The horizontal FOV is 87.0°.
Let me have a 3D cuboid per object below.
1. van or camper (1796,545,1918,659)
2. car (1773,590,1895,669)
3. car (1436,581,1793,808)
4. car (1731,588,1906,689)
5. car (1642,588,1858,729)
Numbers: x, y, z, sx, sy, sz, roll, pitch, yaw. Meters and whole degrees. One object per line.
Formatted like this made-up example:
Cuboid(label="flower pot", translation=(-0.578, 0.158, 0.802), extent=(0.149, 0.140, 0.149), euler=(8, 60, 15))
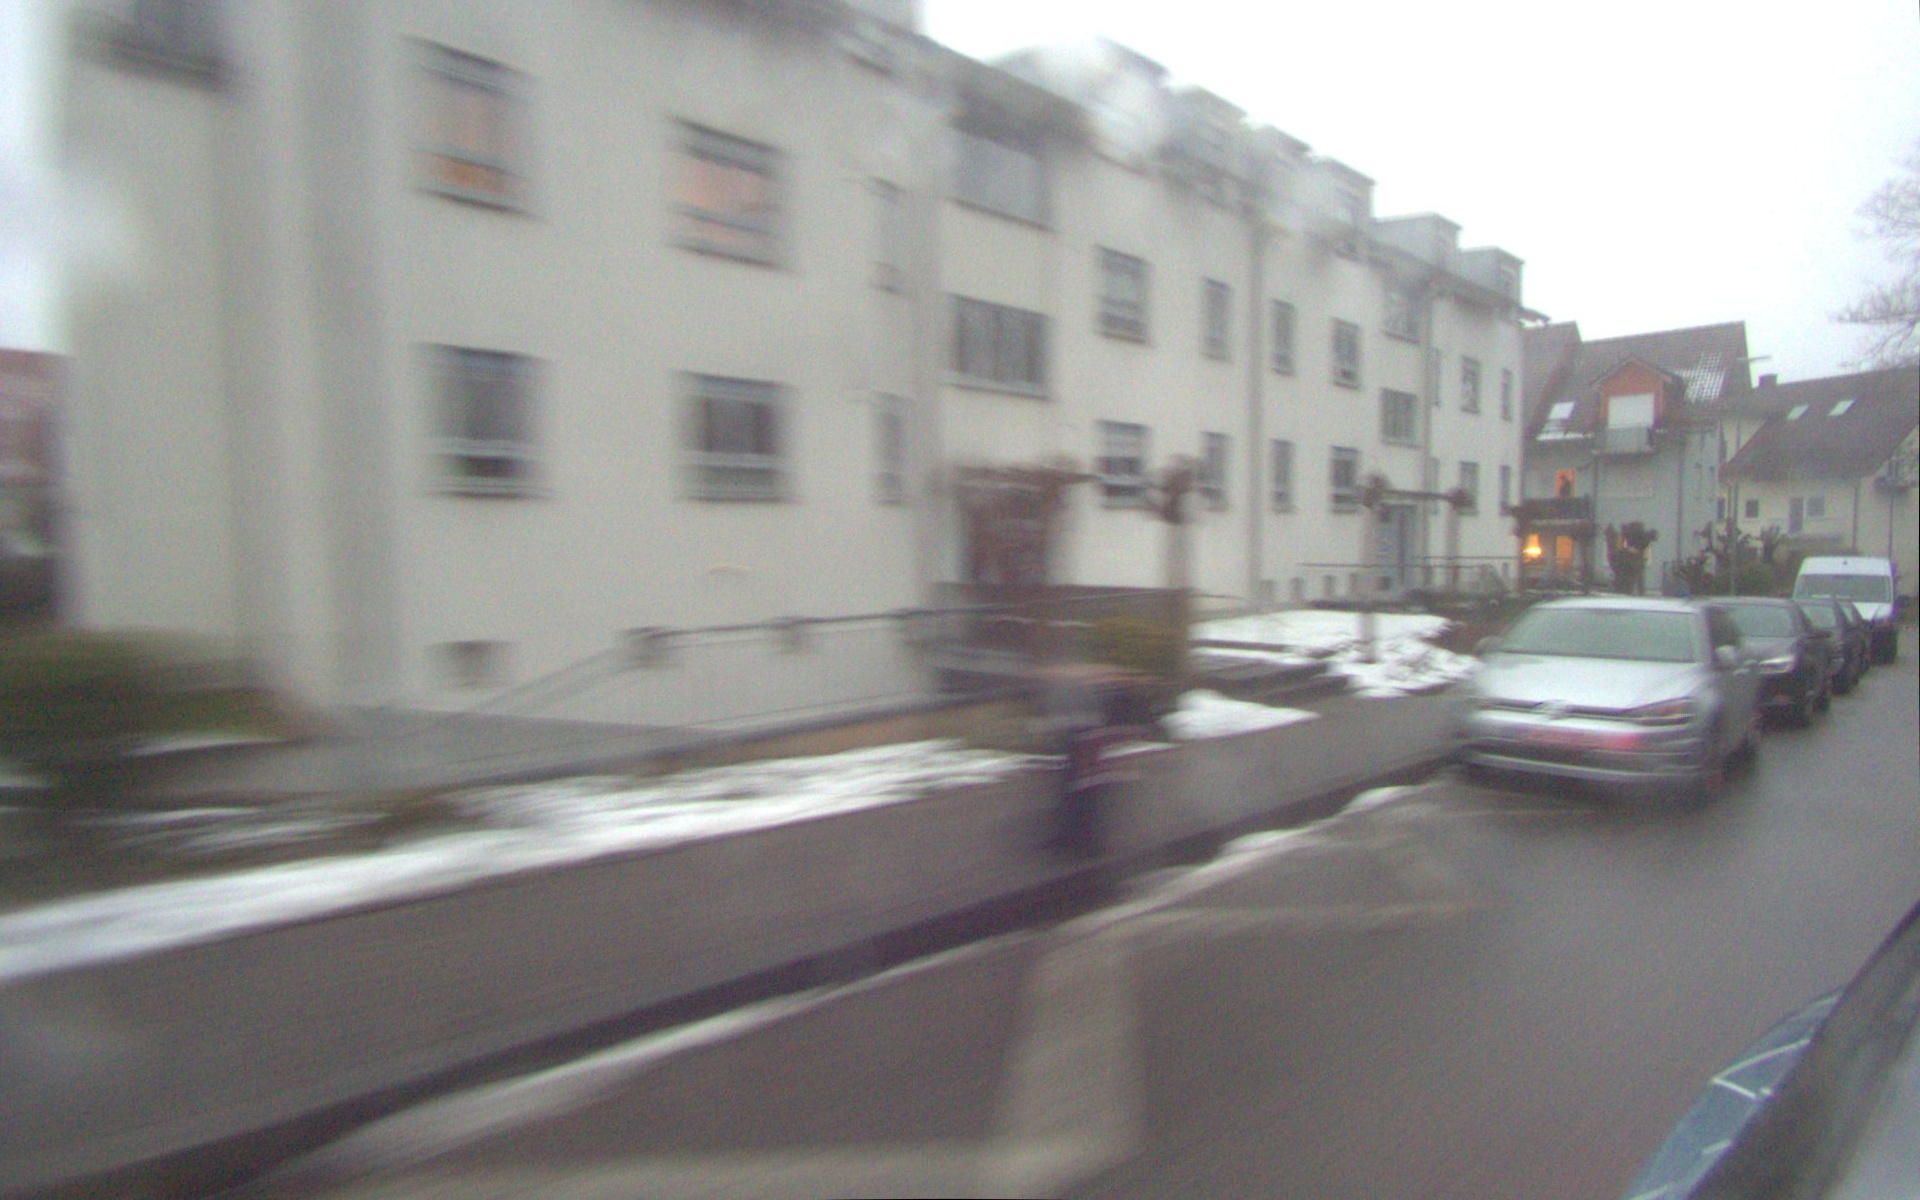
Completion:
Cuboid(label="van or camper", translation=(22.913, -0.016, 25.745), extent=(2.015, 2.538, 6.686), euler=(3, 2, 43))
Cuboid(label="car", translation=(18.354, 0.538, 21.199), extent=(1.656, 1.407, 4.057), euler=(3, 3, 44))
Cuboid(label="car", translation=(5.774, 0.573, 8.665), extent=(1.738, 1.447, 4.386), euler=(0, 1, 44))
Cuboid(label="car", translation=(14.548, 0.545, 17.063), extent=(4.455, 1.407, 1.658), euler=(-1, 3, -42))
Cuboid(label="car", translation=(10.056, 0.582, 12.745), extent=(1.656, 1.447, 4.491), euler=(0, 1, 44))
